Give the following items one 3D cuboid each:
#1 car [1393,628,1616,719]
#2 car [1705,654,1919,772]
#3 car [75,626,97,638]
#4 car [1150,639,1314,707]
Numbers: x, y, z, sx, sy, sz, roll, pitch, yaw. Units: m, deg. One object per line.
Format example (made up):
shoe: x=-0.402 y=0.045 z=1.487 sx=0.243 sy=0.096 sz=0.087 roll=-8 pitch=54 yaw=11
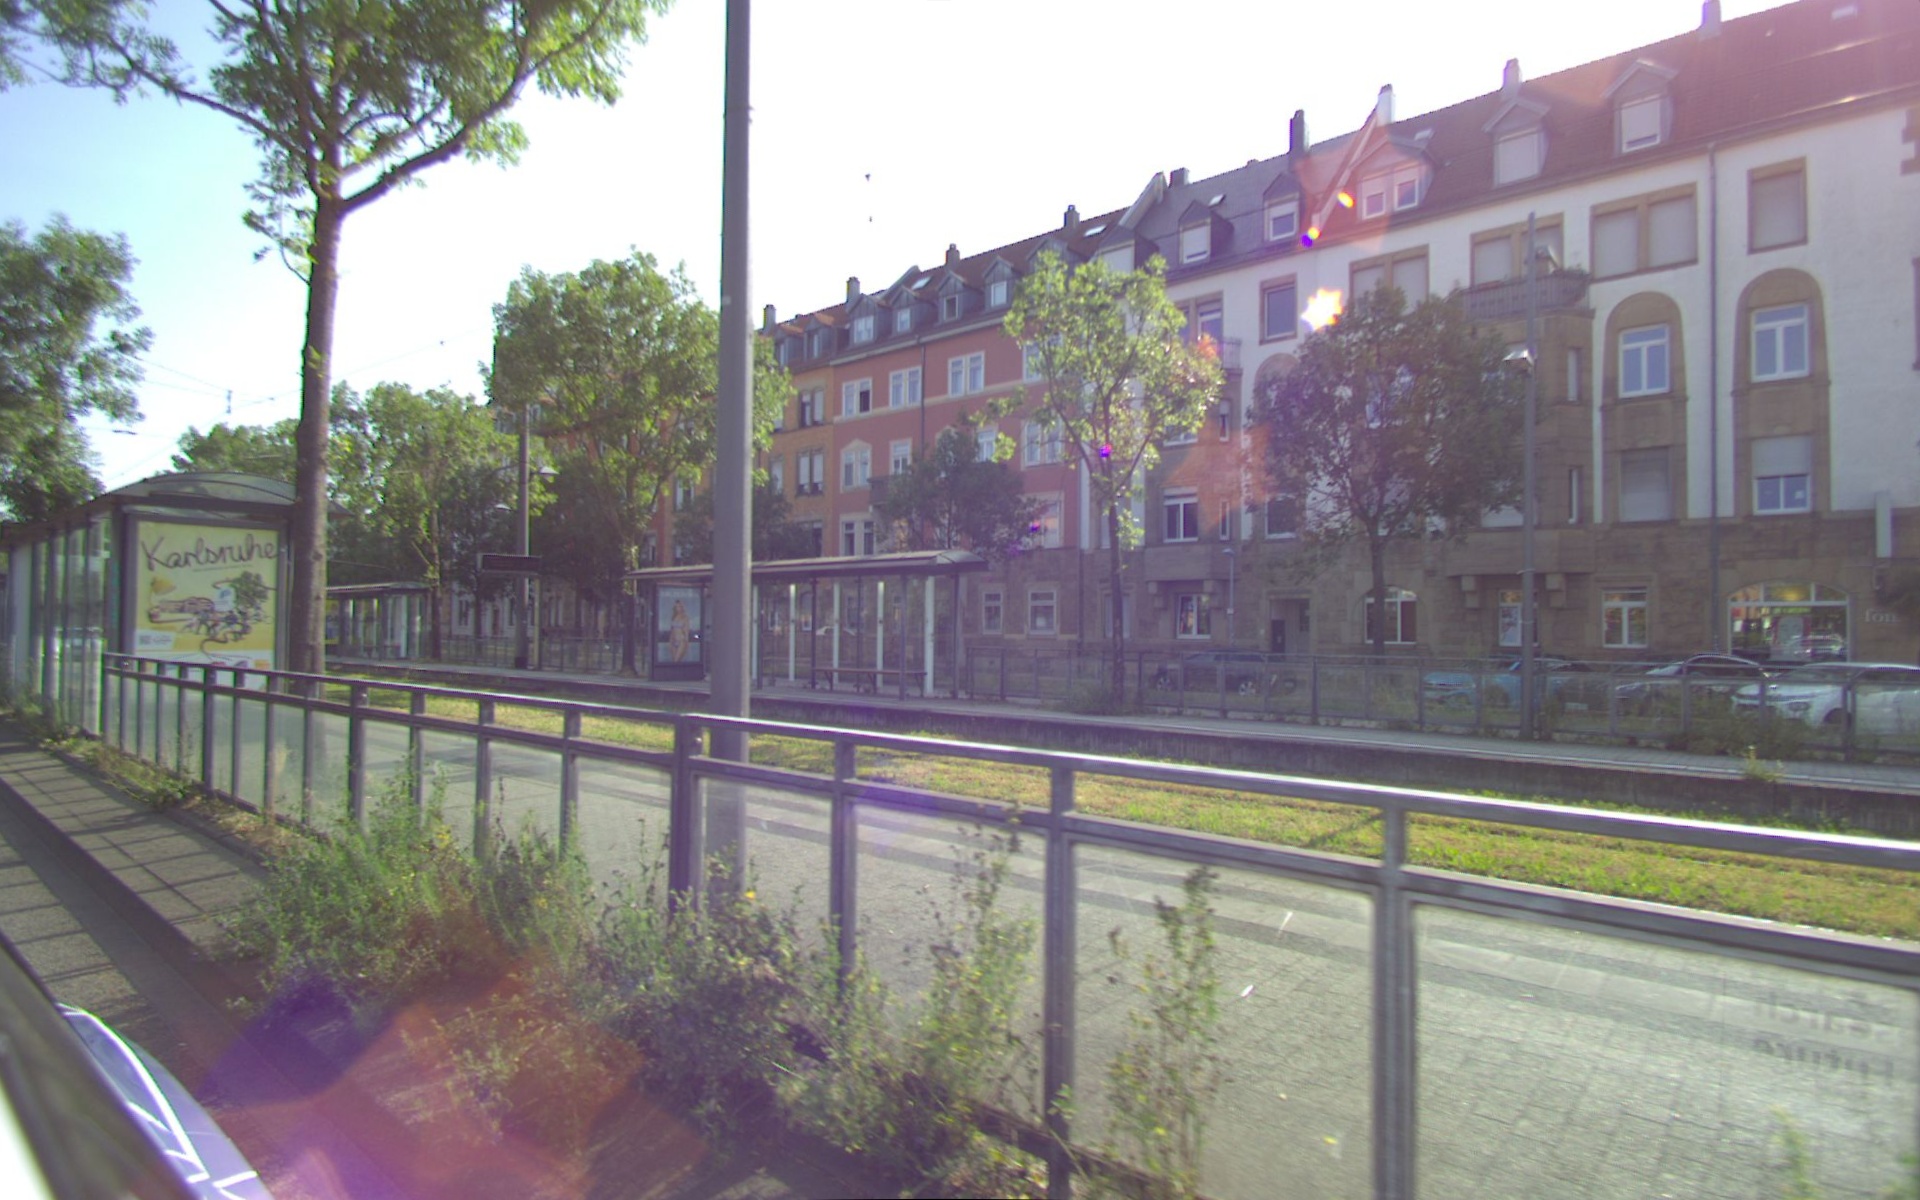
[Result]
car: x=11.832 y=1.546 z=22.103 sx=3.933 sy=1.739 sz=2.005 roll=-1 pitch=0 yaw=-14
car: x=15.851 y=1.927 z=18.088 sx=3.933 sy=1.739 sz=2.005 roll=-1 pitch=0 yaw=-14
car: x=-117.020 y=4.300 z=135.537 sx=3.998 sy=1.526 sz=1.650 roll=-1 pitch=-3 yaw=41
car: x=7.531 y=1.957 z=28.209 sx=3.998 sy=1.632 sz=1.882 roll=-1 pitch=0 yaw=42
